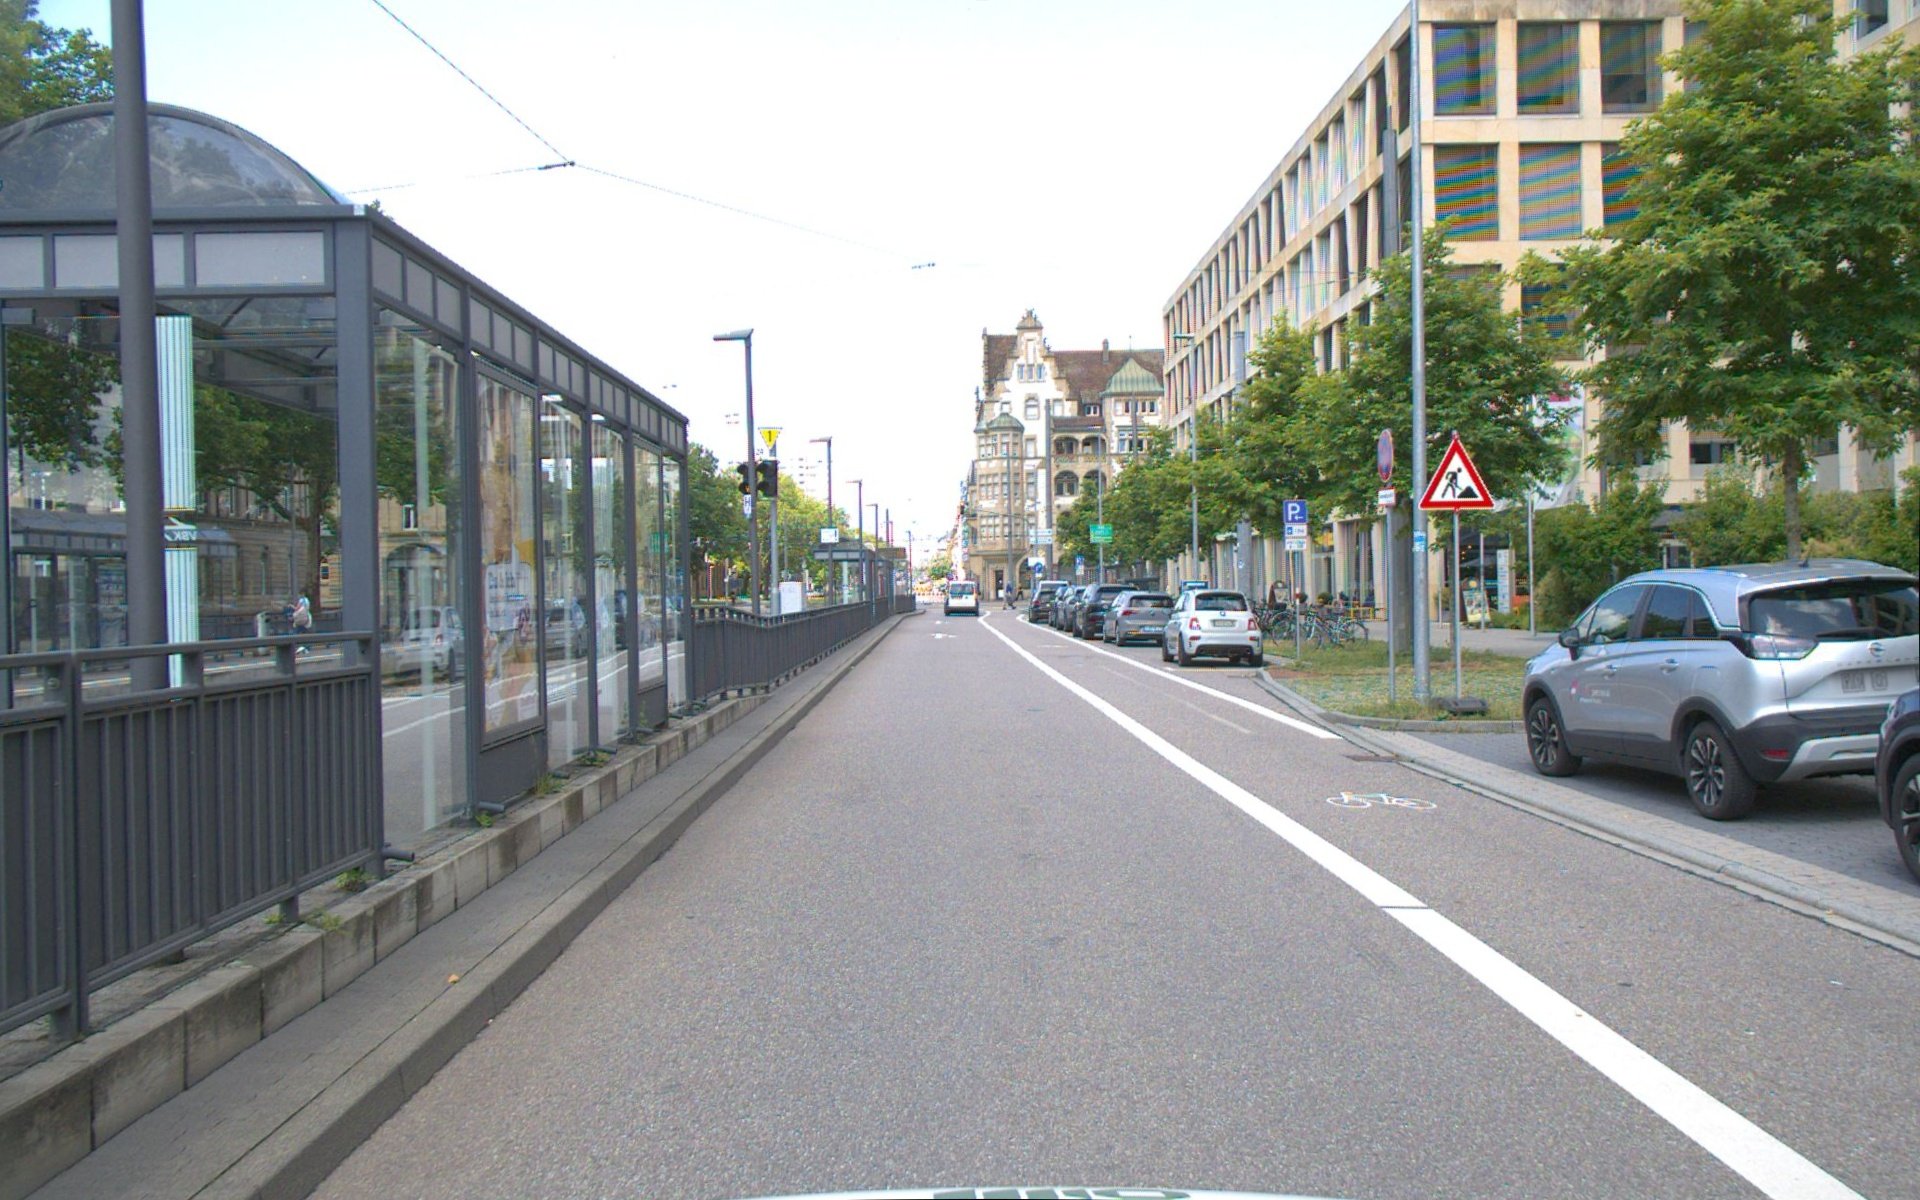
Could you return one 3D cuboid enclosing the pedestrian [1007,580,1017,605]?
[{"bbox_3d":[3.388,-0.474,108.023,0.523,1.599,0.542,-3,0,-3],"label":"pedestrian"}]

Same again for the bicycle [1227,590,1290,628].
[{"bbox_3d":[8.514,0.250,47.184,1.717,1.003,0.325,-2,0,-2],"label":"bicycle"}]

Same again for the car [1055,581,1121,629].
[{"bbox_3d":[4.482,0.138,58.588,1.771,1.619,4.839,0,1,-3],"label":"car"}]

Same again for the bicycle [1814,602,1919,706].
[{"bbox_3d":[8.858,0.495,15.440,1.465,0.933,0.505,-2,-2,2],"label":"bicycle"}]

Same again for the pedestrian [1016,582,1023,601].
[{"bbox_3d":[5.237,-0.746,145.317,0.476,1.637,0.362,-3,0,-2],"label":"pedestrian"}]

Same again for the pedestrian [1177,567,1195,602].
[{"bbox_3d":[11.574,-0.795,84.694,0.745,1.753,0.659,-1,0,-2],"label":"pedestrian"}]

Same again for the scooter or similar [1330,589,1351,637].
[{"bbox_3d":[9.827,0.330,42.752,0.253,1.236,1.015,-1,1,-1],"label":"scooter or similar"}]

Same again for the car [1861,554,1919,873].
[{"bbox_3d":[5.567,0.545,6.659,1.651,1.575,3.926,-3,1,-1],"label":"car"}]

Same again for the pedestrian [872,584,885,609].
[{"bbox_3d":[-3.912,-0.166,79.404,0.503,1.160,0.501,-3,0,-1],"label":"pedestrian"}]

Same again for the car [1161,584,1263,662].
[{"bbox_3d":[5.080,0.423,33.658,1.558,1.485,3.613,0,1,0],"label":"car"}]

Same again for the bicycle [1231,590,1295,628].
[{"bbox_3d":[8.568,0.252,46.826,1.717,1.003,0.325,-2,0,-2],"label":"bicycle"}]

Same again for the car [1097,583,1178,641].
[{"bbox_3d":[4.748,0.300,44.675,1.559,1.459,4.105,0,1,-3],"label":"car"}]

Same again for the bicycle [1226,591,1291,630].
[{"bbox_3d":[8.246,0.282,45.708,1.717,1.003,0.325,-2,0,-2],"label":"bicycle"}]

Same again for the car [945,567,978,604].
[{"bbox_3d":[0.045,-0.855,96.332,1.831,2.055,3.999,0,1,-1],"label":"car"}]

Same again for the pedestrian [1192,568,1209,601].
[{"bbox_3d":[12.317,-0.792,84.717,0.745,1.699,0.659,-1,0,-2],"label":"pedestrian"}]

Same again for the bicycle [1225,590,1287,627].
[{"bbox_3d":[8.506,0.247,47.532,1.717,1.003,0.325,-2,0,-2],"label":"bicycle"}]

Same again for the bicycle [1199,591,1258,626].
[{"bbox_3d":[8.495,0.273,52.375,1.785,1.048,0.432,-2,0,2],"label":"bicycle"}]

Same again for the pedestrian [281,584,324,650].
[{"bbox_3d":[-15.812,0.399,39.808,0.687,1.539,0.803,-2,1,-3],"label":"pedestrian"}]

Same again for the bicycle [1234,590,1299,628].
[{"bbox_3d":[8.609,0.254,46.485,1.717,1.003,0.325,-2,0,-2],"label":"bicycle"}]

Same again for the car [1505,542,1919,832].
[{"bbox_3d":[5.549,0.487,11.975,1.652,1.662,3.988,-4,1,-3],"label":"car"}]

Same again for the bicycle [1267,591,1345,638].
[{"bbox_3d":[8.504,0.351,40.680,1.785,1.094,0.686,-1,0,3],"label":"bicycle"}]

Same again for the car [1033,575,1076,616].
[{"bbox_3d":[4.341,-0.213,76.440,1.675,1.828,3.360,0,1,-3],"label":"car"}]

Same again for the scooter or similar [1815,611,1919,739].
[{"bbox_3d":[9.048,0.718,16.144,1.029,1.195,0.719,-1,0,3],"label":"scooter or similar"}]

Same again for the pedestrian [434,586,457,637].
[{"bbox_3d":[-16.443,0.367,52.873,0.490,1.585,0.643,-1,0,-1],"label":"pedestrian"}]

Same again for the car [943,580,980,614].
[{"bbox_3d":[0.060,-0.190,87.903,1.831,1.777,3.999,0,1,-1],"label":"car"}]

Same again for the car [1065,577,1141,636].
[{"bbox_3d":[4.319,0.162,50.687,1.703,1.698,4.839,0,1,-2],"label":"car"}]

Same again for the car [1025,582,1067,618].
[{"bbox_3d":[3.687,-0.022,71.440,1.414,1.495,4.091,0,1,-2],"label":"car"}]

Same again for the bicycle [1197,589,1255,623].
[{"bbox_3d":[8.542,0.197,53.138,1.785,1.048,0.584,-2,0,2],"label":"bicycle"}]

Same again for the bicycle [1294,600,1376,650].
[{"bbox_3d":[8.615,0.571,38.020,1.785,1.094,0.275,-1,0,3],"label":"bicycle"}]

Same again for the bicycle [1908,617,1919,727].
[{"bbox_3d":[8.851,0.583,13.857,1.465,0.933,0.505,-2,-4,2],"label":"bicycle"}]

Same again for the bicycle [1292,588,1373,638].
[{"bbox_3d":[8.621,0.304,38.321,1.785,1.094,0.275,-1,0,3],"label":"bicycle"}]
